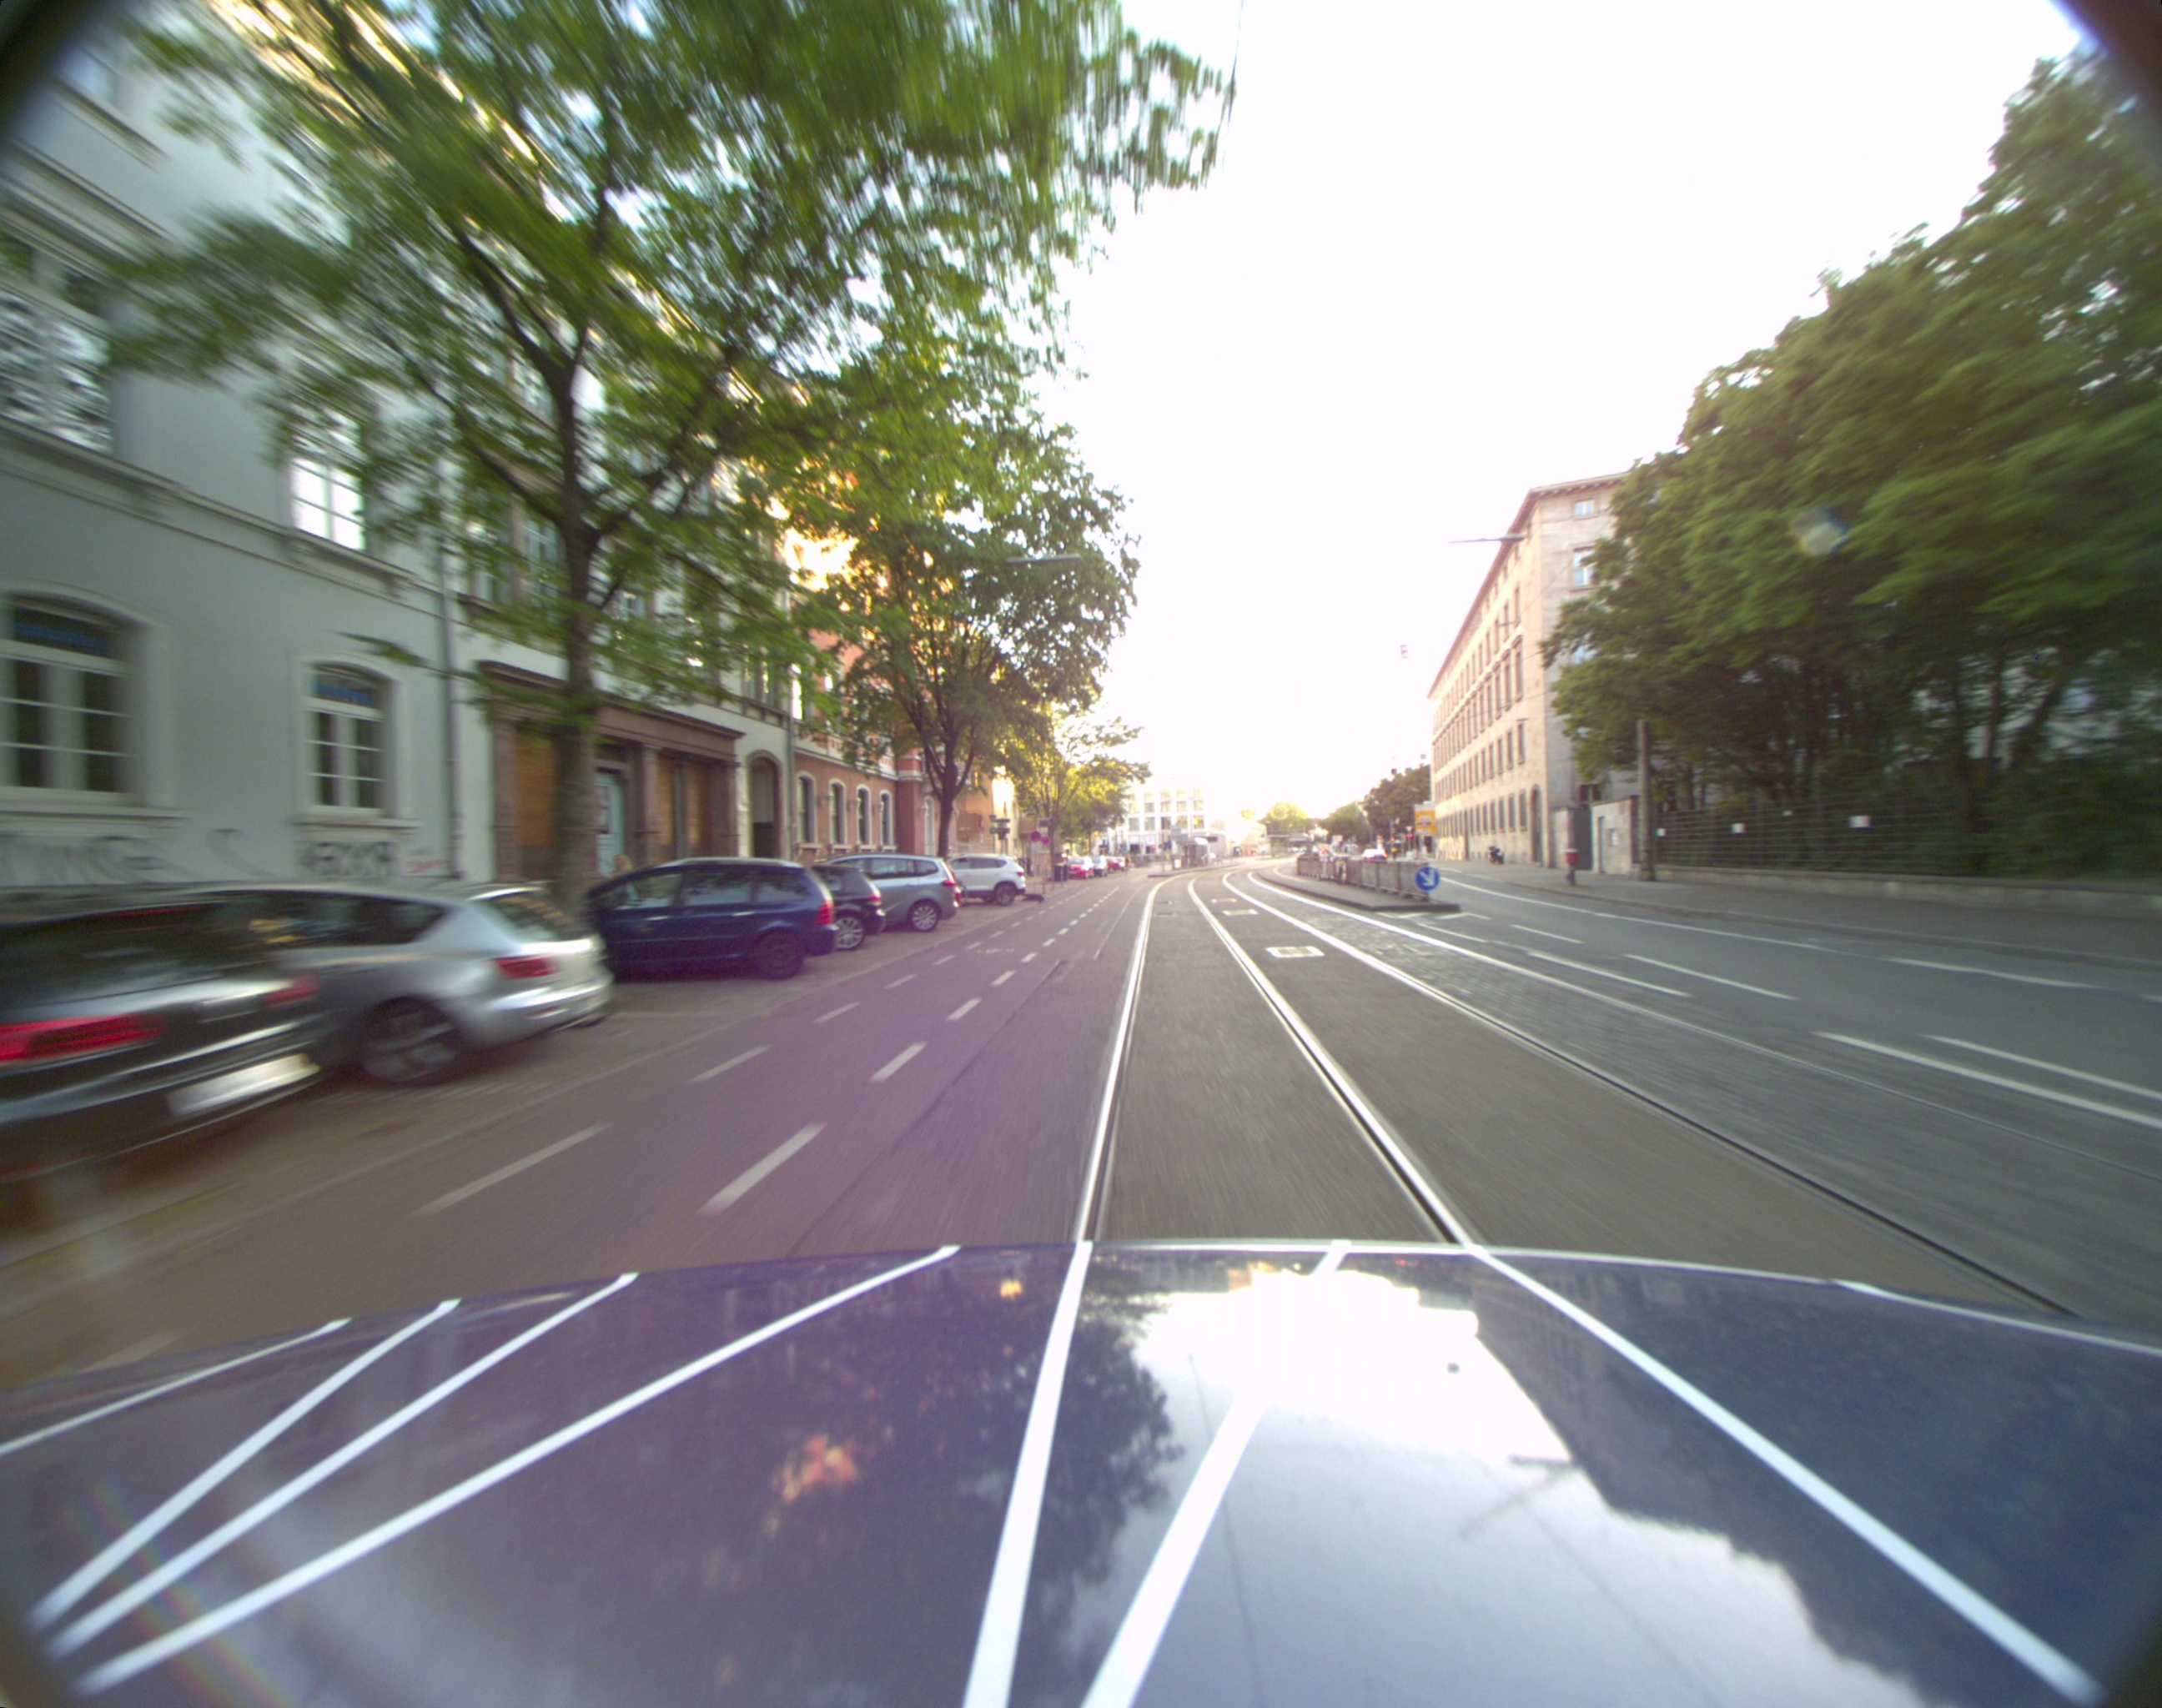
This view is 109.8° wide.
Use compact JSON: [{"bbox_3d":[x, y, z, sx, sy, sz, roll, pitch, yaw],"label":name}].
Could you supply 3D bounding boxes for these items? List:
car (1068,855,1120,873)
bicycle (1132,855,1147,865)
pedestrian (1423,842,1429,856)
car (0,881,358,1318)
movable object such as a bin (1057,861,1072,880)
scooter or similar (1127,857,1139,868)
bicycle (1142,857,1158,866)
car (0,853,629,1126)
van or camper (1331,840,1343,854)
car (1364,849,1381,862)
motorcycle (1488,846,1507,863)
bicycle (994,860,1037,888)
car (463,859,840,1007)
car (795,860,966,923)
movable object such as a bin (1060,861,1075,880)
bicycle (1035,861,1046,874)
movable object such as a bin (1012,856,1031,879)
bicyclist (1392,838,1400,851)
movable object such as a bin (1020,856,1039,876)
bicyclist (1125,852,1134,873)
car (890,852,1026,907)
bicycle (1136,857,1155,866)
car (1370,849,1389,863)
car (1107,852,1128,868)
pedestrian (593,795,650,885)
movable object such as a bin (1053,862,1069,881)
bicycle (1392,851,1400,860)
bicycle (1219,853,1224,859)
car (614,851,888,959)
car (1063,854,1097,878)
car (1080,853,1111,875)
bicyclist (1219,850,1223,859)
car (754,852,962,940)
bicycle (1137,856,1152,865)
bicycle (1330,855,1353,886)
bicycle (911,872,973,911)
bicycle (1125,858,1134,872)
[{"bbox_3d":[1.160,0.861,66.418,4.215,1.445,1.642,-2,0,-24],"label":"car"},{"bbox_3d":[6.946,0.728,90.004,1.528,1.156,0.745,-3,0,21],"label":"bicycle"},{"bbox_3d":[42.521,-0.631,93.645,0.696,1.700,0.647,-2,0,22],"label":"pedestrian"},{"bbox_3d":[-6.180,0.946,3.369,3.955,1.594,1.839,1,0,-9],"label":"car"},{"bbox_3d":[-1.010,1.021,46.523,0.713,1.147,0.589,-2,0,18],"label":"movable object such as a bin"},{"bbox_3d":[6.098,1.015,88.888,1.201,1.218,0.592,0,1,20],"label":"scooter or similar"},{"bbox_3d":[8.584,0.958,94.320,1.861,1.068,0.745,-2,0,37],"label":"bicycle"},{"bbox_3d":[-5.916,0.875,5.648,3.956,1.594,1.838,2,0,-12],"label":"car"},{"bbox_3d":[55.429,-1.542,164.622,2.107,2.664,4.719,-2,-2,21],"label":"van or camper"},{"bbox_3d":[32.774,0.119,85.363,1.644,1.419,4.238,-1,0,19],"label":"car"},{"bbox_3d":[27.510,0.034,50.215,0.699,1.068,2.657,-1,0,19],"label":"motorcycle"},{"bbox_3d":[-3.110,0.939,36.224,1.921,1.259,0.600,-2,1,-29],"label":"bicycle"},{"bbox_3d":[-5.387,0.916,10.032,3.960,1.594,1.836,1,0,-26],"label":"car"},{"bbox_3d":[-5.065,0.896,19.191,3.959,1.468,1.827,1,-1,-23],"label":"car"},{"bbox_3d":[-0.857,1.037,48.022,0.624,1.147,0.714,-2,0,-41],"label":"movable object such as a bin"},{"bbox_3d":[-3.483,1.154,65.388,0.652,1.068,1.557,-2,0,6],"label":"bicycle"},{"bbox_3d":[-4.082,0.899,52.133,1.074,1.493,1.319,-2,0,4],"label":"movable object such as a bin"},{"bbox_3d":[35.251,-1.028,85.118,0.757,1.432,0.598,-2,0,20],"label":"bicyclist"},{"bbox_3d":[-3.925,0.910,58.237,1.115,1.493,1.482,-2,0,6],"label":"movable object such as a bin"},{"bbox_3d":[3.774,0.642,59.149,0.610,1.626,0.597,-2,0,3],"label":"bicyclist"},{"bbox_3d":[-3.880,0.779,24.083,3.960,1.617,1.671,1,-1,-24],"label":"car"},{"bbox_3d":[7.905,0.947,93.492,2.232,1.125,0.745,-1,1,21],"label":"bicycle"},{"bbox_3d":[31.060,0.173,79.042,1.644,1.419,3.710,-2,0,19],"label":"car"},{"bbox_3d":[3.648,0.546,75.629,1.683,1.544,4.003,0,0,9],"label":"car"},{"bbox_3d":[-8.456,-0.250,14.009,0.587,1.600,0.625,-2,0,6],"label":"pedestrian"},{"bbox_3d":[-1.222,1.063,46.002,0.794,1.147,0.589,-2,0,18],"label":"movable object such as a bin"},{"bbox_3d":[35.258,0.135,84.983,0.742,1.011,1.763,-2,0,20],"label":"bicycle"},{"bbox_3d":[25.419,0.305,137.627,0.539,1.045,1.763,-2,0,20],"label":"bicycle"},{"bbox_3d":[-5.489,0.841,12.940,3.960,1.594,1.743,3,0,-24],"label":"car"},{"bbox_3d":[-0.025,0.755,50.837,1.567,1.527,3.696,0,0,11],"label":"car"},{"bbox_3d":[1.109,0.716,56.712,1.746,1.622,4.091,0,0,9],"label":"car"},{"bbox_3d":[25.304,0.049,137.438,0.540,1.626,0.598,-2,0,20],"label":"bicyclist"},{"bbox_3d":[-4.739,0.819,16.159,3.961,1.659,1.897,1,1,-27],"label":"car"},{"bbox_3d":[7.650,0.778,91.373,1.552,1.068,0.745,-2,0,21],"label":"bicycle"},{"bbox_3d":[9.437,0.566,27.526,0.463,1.068,2.023,-1,0,10],"label":"bicycle"},{"bbox_3d":[-3.987,1.074,21.806,1.671,1.068,0.463,1,0,-18],"label":"bicycle"},{"bbox_3d":[3.779,0.853,59.227,0.609,1.108,2.087,-2,0,3],"label":"bicycle"}]
